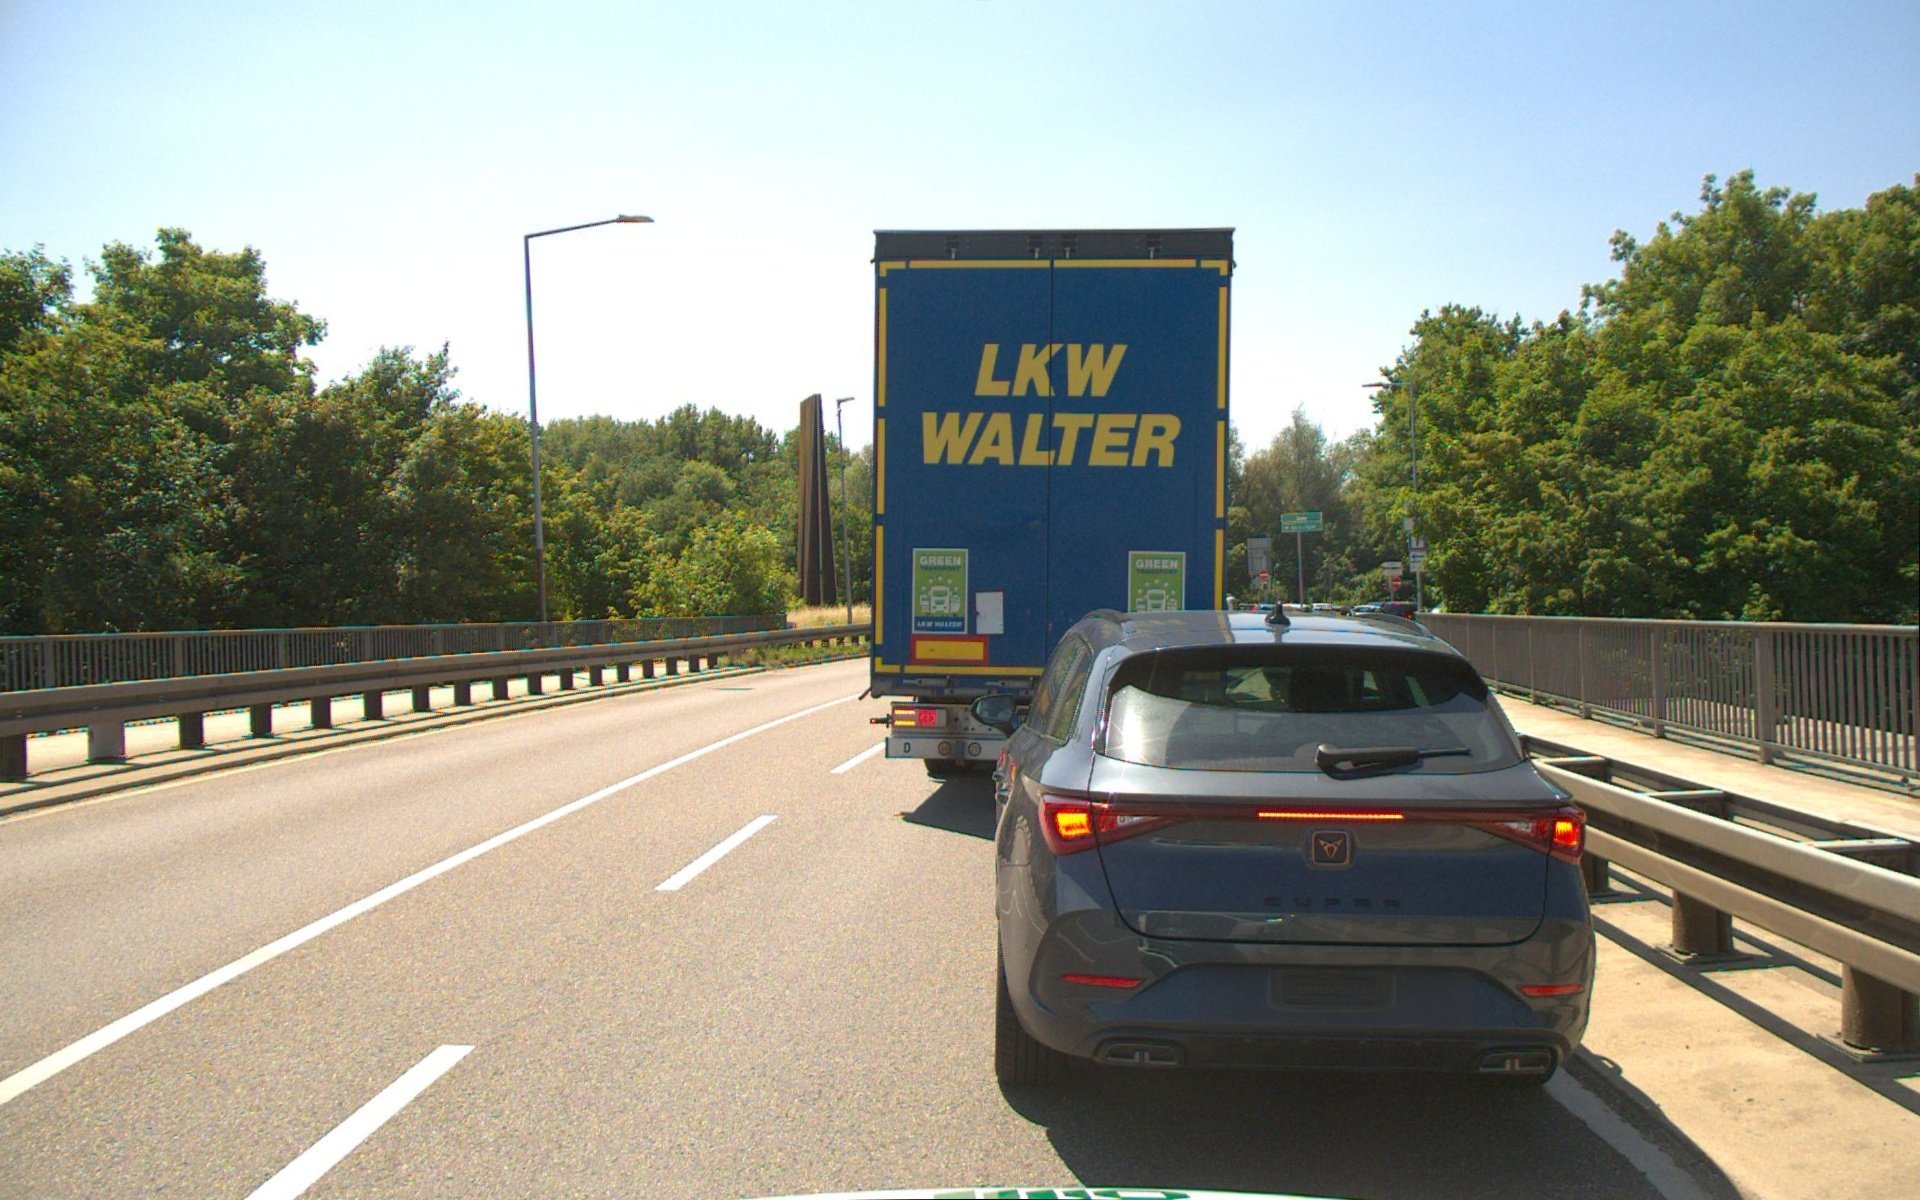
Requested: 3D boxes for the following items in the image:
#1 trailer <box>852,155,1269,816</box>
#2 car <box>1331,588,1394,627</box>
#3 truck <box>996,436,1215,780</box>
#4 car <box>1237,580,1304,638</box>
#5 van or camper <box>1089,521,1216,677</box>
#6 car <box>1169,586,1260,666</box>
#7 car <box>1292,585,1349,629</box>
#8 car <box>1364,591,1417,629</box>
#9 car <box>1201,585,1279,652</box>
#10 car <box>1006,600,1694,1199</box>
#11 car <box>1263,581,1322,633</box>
[{"bbox_3d":[1.414,-0.816,17.584,2.843,4.496,12.442,0,0,7],"label":"trailer"},{"bbox_3d":[18.187,0.365,74.669,1.954,1.603,3.996,2,-1,26],"label":"car"},{"bbox_3d":[2.310,0.082,25.074,2.843,4.496,6.560,0,0,7],"label":"truck"},{"bbox_3d":[10.435,0.276,55.441,1.685,1.876,4.002,0,0,18],"label":"car"},{"bbox_3d":[4.031,-0.030,33.667,2.108,2.865,6.393,0,0,11],"label":"van or camper"},{"bbox_3d":[6.367,0.591,41.076,1.684,1.876,4.002,0,1,17],"label":"car"},{"bbox_3d":[14.937,0.305,68.368,1.651,1.791,3.999,0,-1,22],"label":"car"},{"bbox_3d":[21.006,0.493,80.667,1.653,1.791,3.995,0,-1,28],"label":"car"},{"bbox_3d":[8.072,0.491,47.420,1.684,1.834,4.002,0,0,17],"label":"car"},{"bbox_3d":[0.988,0.743,5.953,1.642,1.481,3.959,0,0,1],"label":"car"},{"bbox_3d":[12.428,0.233,61.680,1.685,1.876,4.002,0,0,18],"label":"car"}]
